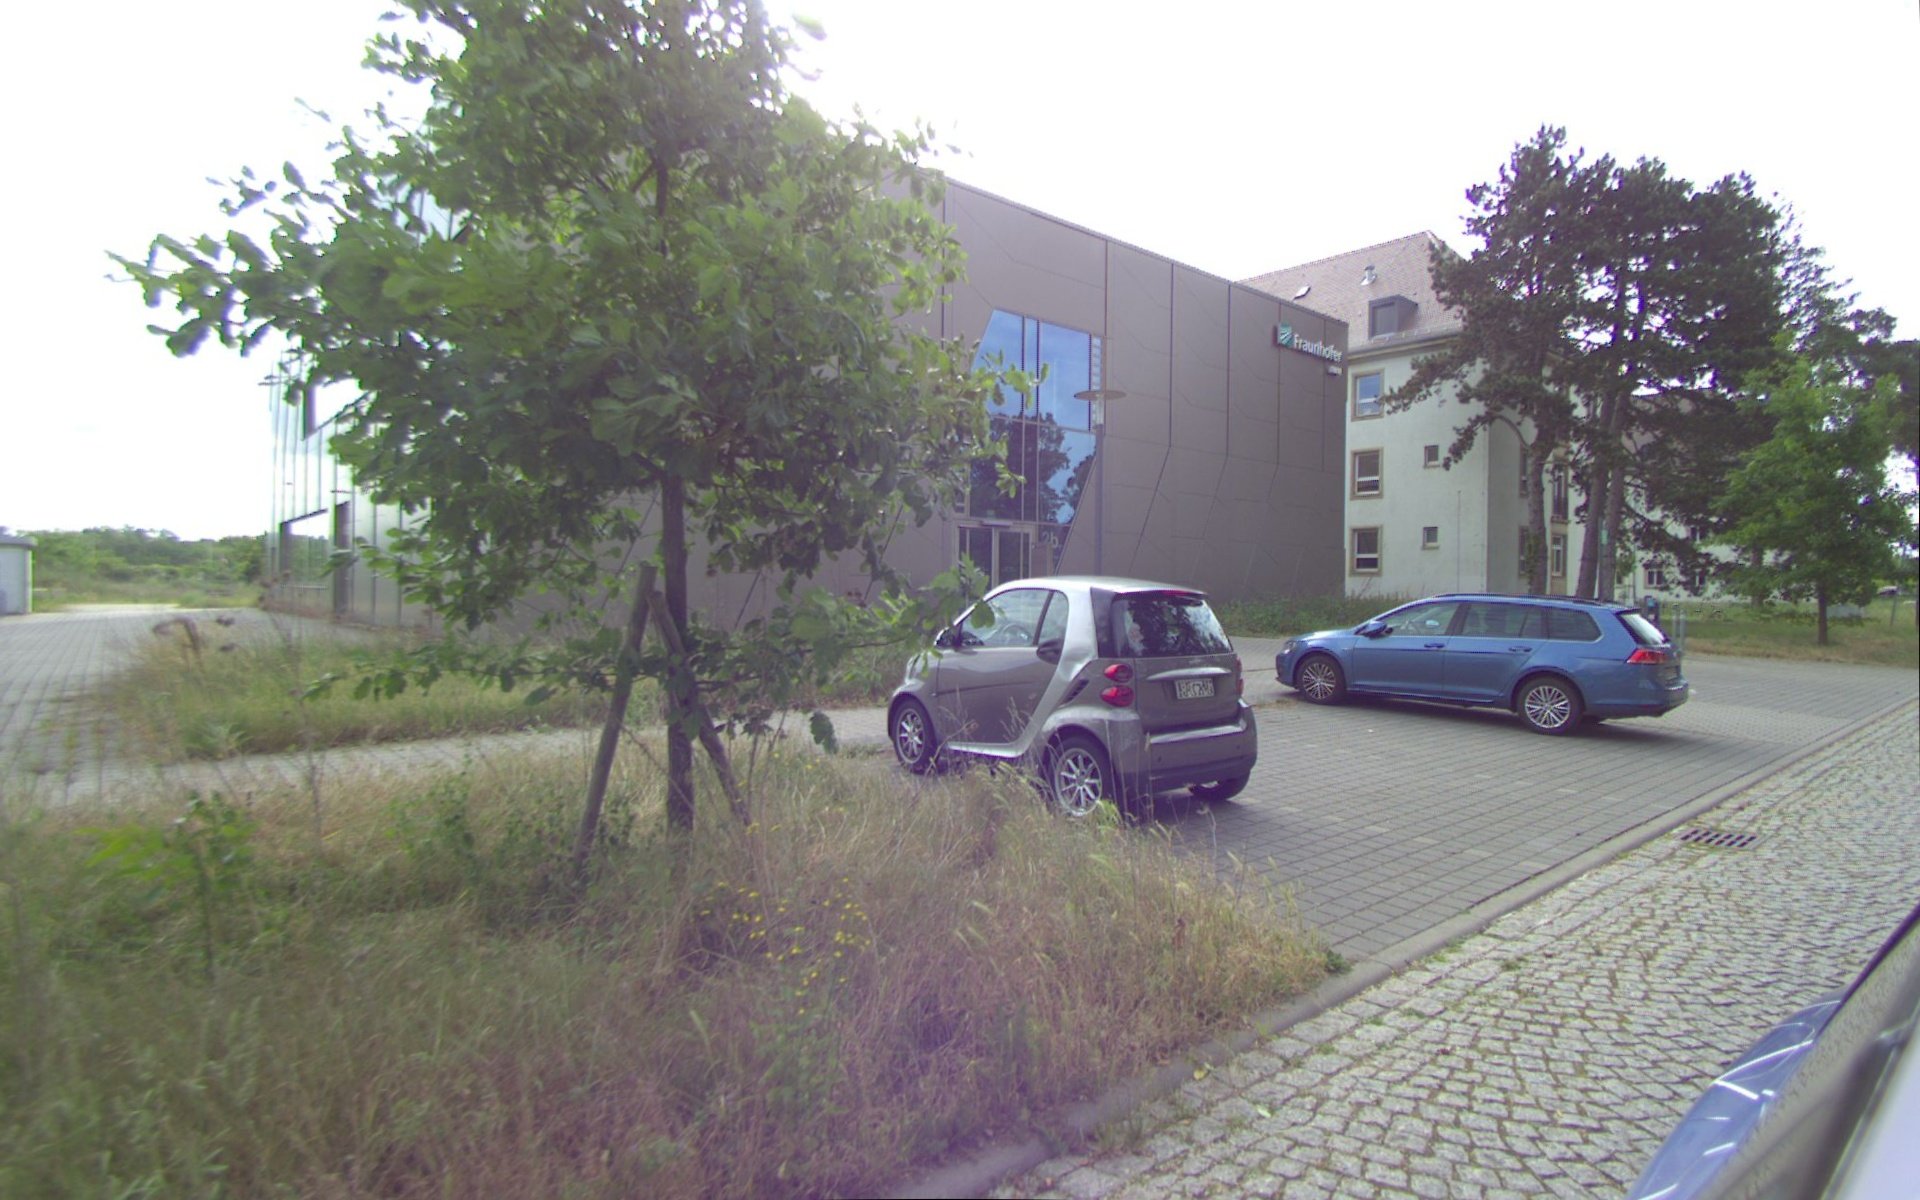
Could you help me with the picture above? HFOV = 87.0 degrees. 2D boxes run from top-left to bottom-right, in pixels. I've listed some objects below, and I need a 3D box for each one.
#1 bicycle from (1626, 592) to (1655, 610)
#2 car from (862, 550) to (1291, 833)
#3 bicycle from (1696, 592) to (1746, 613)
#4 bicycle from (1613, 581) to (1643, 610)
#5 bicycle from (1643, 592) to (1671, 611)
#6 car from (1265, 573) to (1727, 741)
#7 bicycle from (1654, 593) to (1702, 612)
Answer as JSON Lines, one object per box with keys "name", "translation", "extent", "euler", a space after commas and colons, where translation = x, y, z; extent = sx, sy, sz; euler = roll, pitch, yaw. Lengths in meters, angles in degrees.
{"name": "bicycle", "translation": [41.213, 0.069, 61.266], "extent": [2.159, 1.070, 0.800], "euler": [0, 1, -38]}
{"name": "car", "translation": [0.748, 0.486, 7.520], "extent": [1.653, 1.601, 2.748], "euler": [0, 3, -40]}
{"name": "bicycle", "translation": [43.074, 0.124, 57.289], "extent": [0.705, 1.109, 2.161], "euler": [0, 1, -43]}
{"name": "bicycle", "translation": [40.976, -0.288, 62.064], "extent": [2.159, 1.753, 0.905], "euler": [0, 1, -38]}
{"name": "bicycle", "translation": [41.750, 0.082, 60.608], "extent": [2.126, 1.070, 0.800], "euler": [0, 1, -38]}
{"name": "car", "translation": [6.235, 0.514, 12.225], "extent": [1.899, 1.467, 4.533], "euler": [0, 3, -42]}
{"name": "bicycle", "translation": [41.782, 0.117, 58.924], "extent": [0.705, 1.070, 2.161], "euler": [0, 1, -43]}
